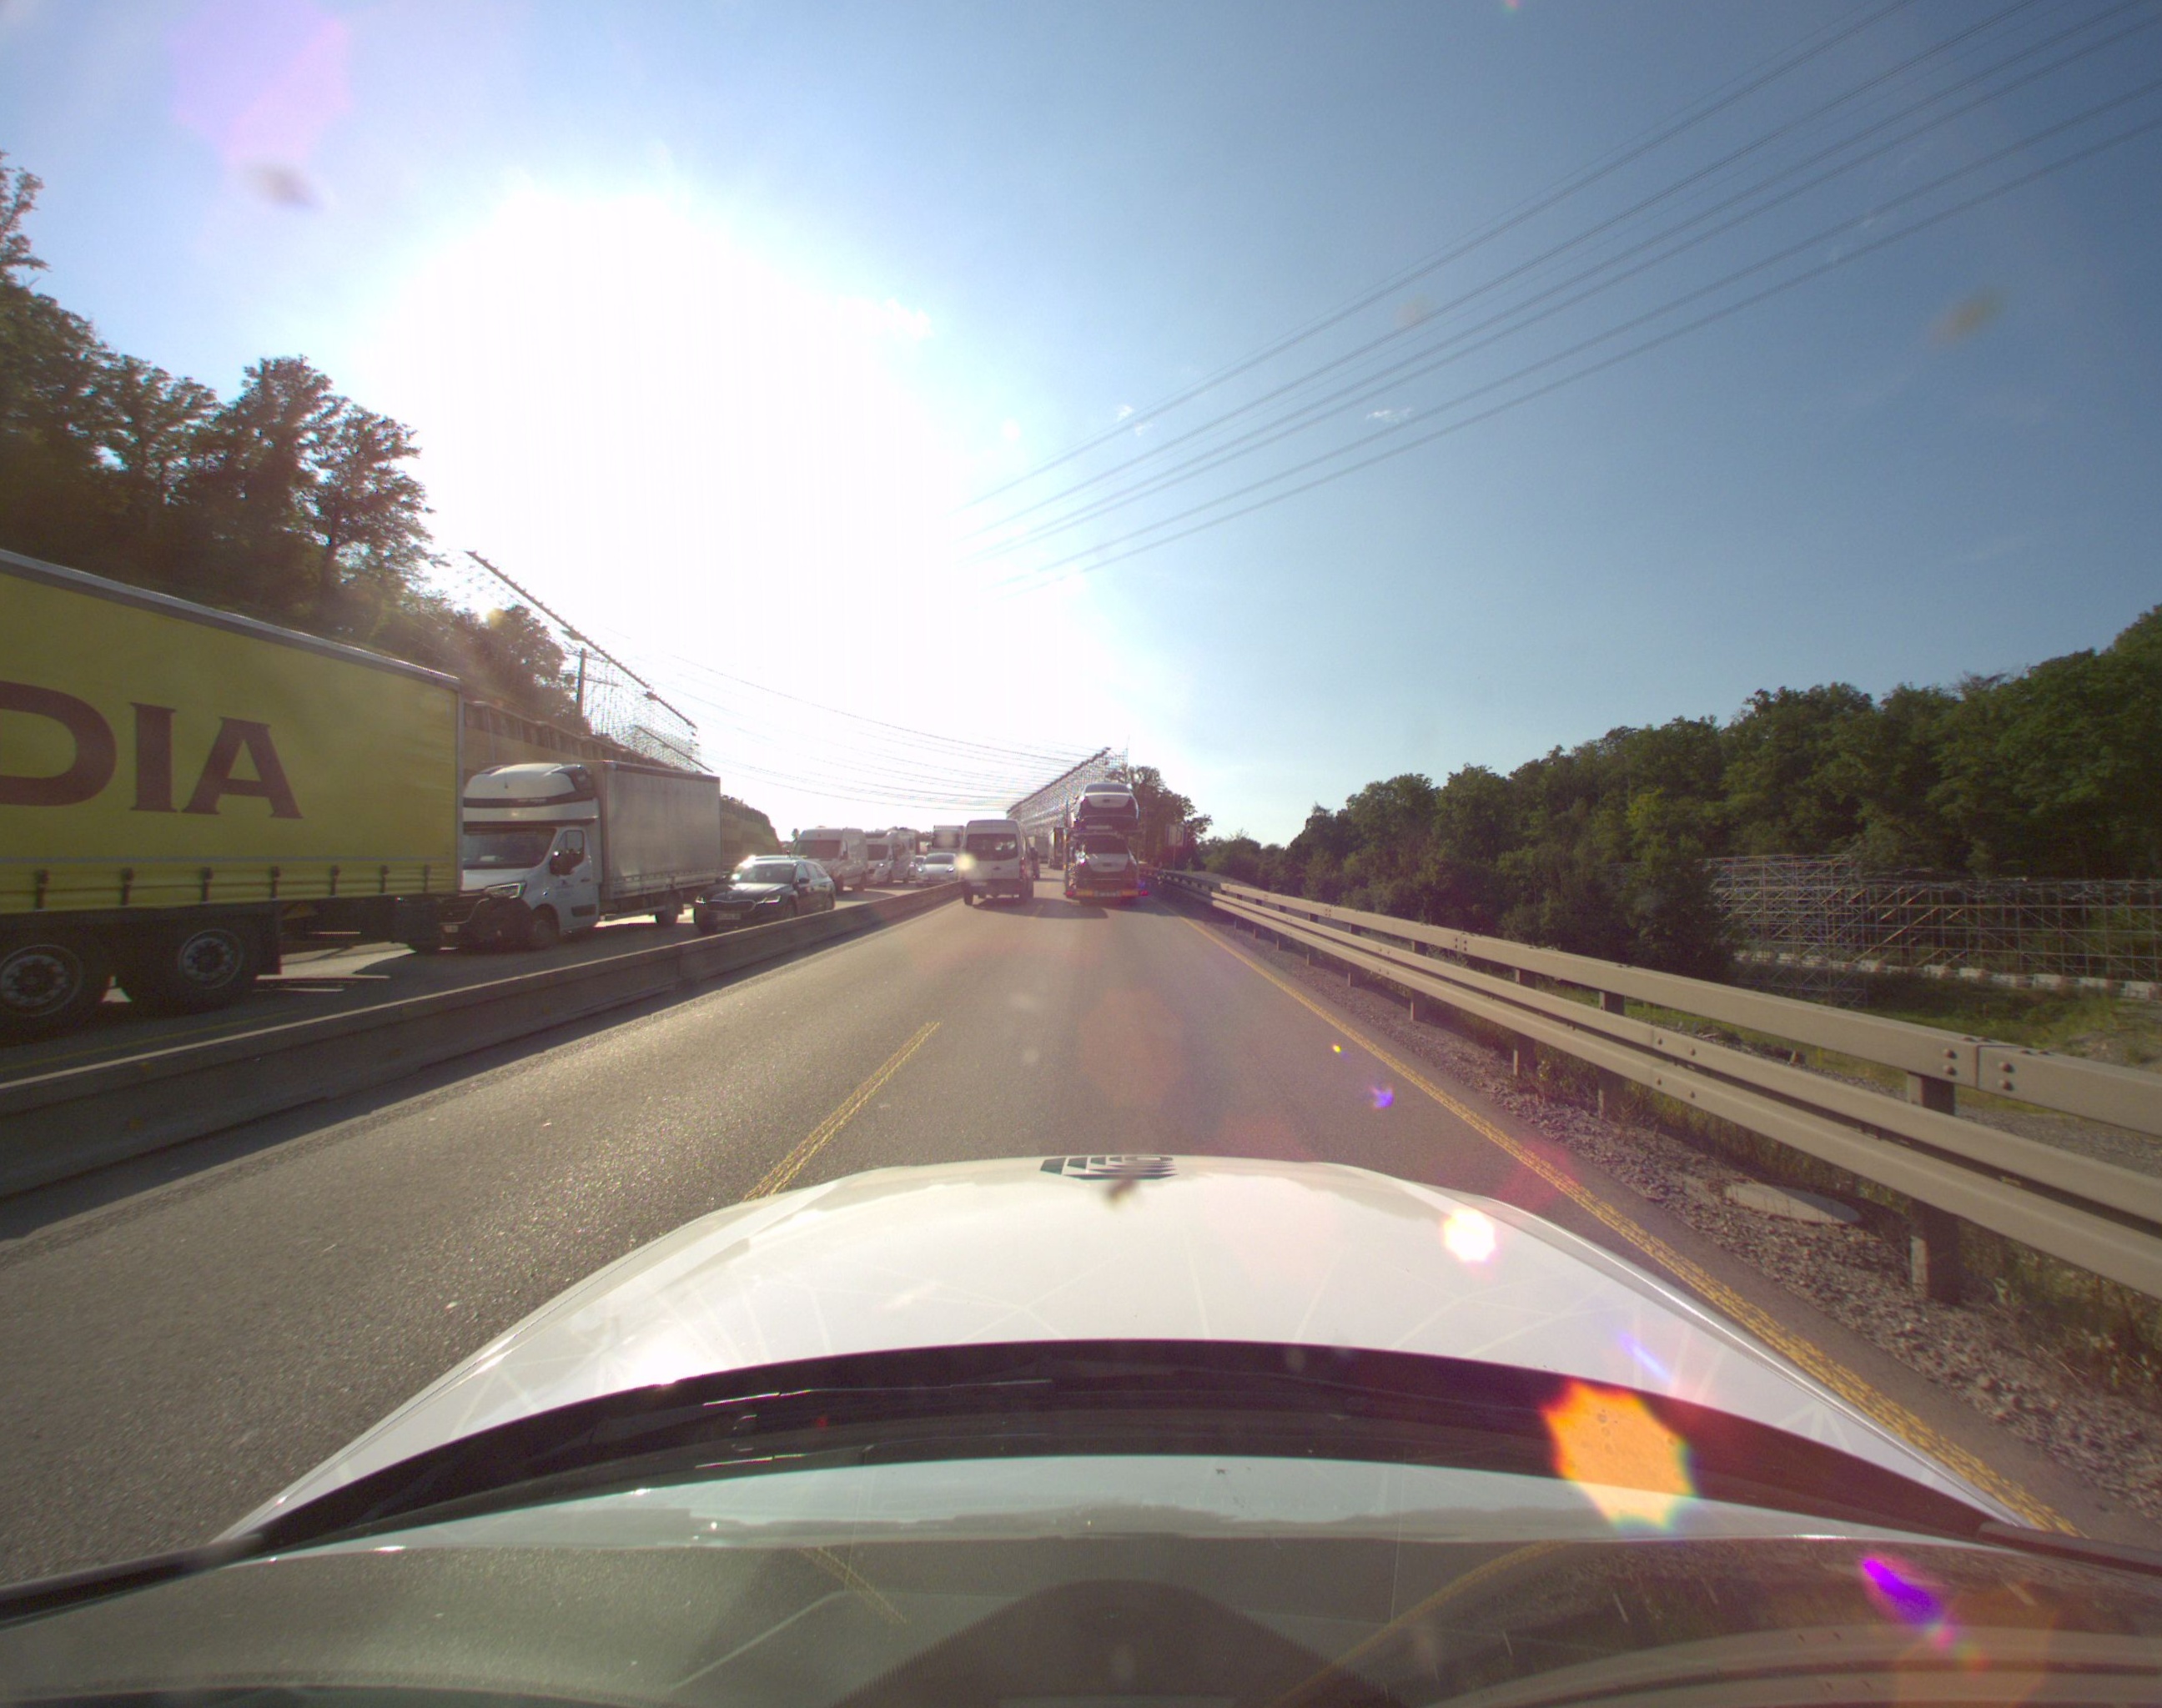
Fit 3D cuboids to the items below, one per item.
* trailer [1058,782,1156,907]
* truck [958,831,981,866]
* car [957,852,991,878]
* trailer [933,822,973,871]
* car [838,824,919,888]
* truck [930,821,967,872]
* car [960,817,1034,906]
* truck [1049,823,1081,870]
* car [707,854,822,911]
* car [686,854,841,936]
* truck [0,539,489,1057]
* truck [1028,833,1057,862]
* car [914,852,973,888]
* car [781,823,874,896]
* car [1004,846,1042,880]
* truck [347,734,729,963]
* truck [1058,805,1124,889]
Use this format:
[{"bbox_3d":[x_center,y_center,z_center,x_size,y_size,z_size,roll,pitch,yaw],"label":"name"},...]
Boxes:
[{"bbox_3d":[0.578,-0.279,31.817,2.861,3.725,14.935,0,0,-2],"label":"trailer"},{"bbox_3d":[-14.013,-0.699,103.031,2.742,4.300,5.920,0,0,-7],"label":"truck"},{"bbox_3d":[-6.988,0.715,53.645,1.777,1.521,3.998,1,1,-2],"label":"car"},{"bbox_3d":[-11.965,-0.618,77.184,2.716,4.218,13.724,0,0,-5],"label":"trailer"},{"bbox_3d":[-10.132,0.111,41.604,2.328,2.918,7.628,-1,0,-1],"label":"car"},{"bbox_3d":[-11.379,-0.633,70.338,2.708,4.218,5.672,0,0,-5],"label":"truck"},{"bbox_3d":[-2.613,0.230,26.182,1.951,2.621,3.998,-1,-1,-1],"label":"car"},{"bbox_3d":[-1.744,-0.746,81.732,2.726,4.385,11.507,1,0,-3],"label":"truck"},{"bbox_3d":[-9.224,0.774,24.072,1.757,1.523,4.003,0,0,1],"label":"car"},{"bbox_3d":[-6.548,0.763,17.315,1.649,1.523,4.285,0,0,-1],"label":"car"},{"bbox_3d":[-9.895,-0.433,4.518,2.698,4.088,14.154,-1,0,1],"label":"truck"},{"bbox_3d":[-6.261,-1.063,129.111,3.682,4.220,13.642,-3,1,-6],"label":"truck"},{"bbox_3d":[-6.668,0.724,39.960,2.052,1.486,4.725,-3,1,-1],"label":"car"},{"bbox_3d":[-10.008,0.224,32.636,1.951,2.621,5.746,-1,0,-1],"label":"car"},{"bbox_3d":[-3.532,0.521,50.276,1.987,2.014,4.000,0,0,0],"label":"car"},{"bbox_3d":[-9.884,-0.085,16.159,2.439,3.462,7.616,0,0,0],"label":"truck"},{"bbox_3d":[0.345,-0.310,39.416,2.874,3.702,7.321,0,0,-1],"label":"truck"}]
